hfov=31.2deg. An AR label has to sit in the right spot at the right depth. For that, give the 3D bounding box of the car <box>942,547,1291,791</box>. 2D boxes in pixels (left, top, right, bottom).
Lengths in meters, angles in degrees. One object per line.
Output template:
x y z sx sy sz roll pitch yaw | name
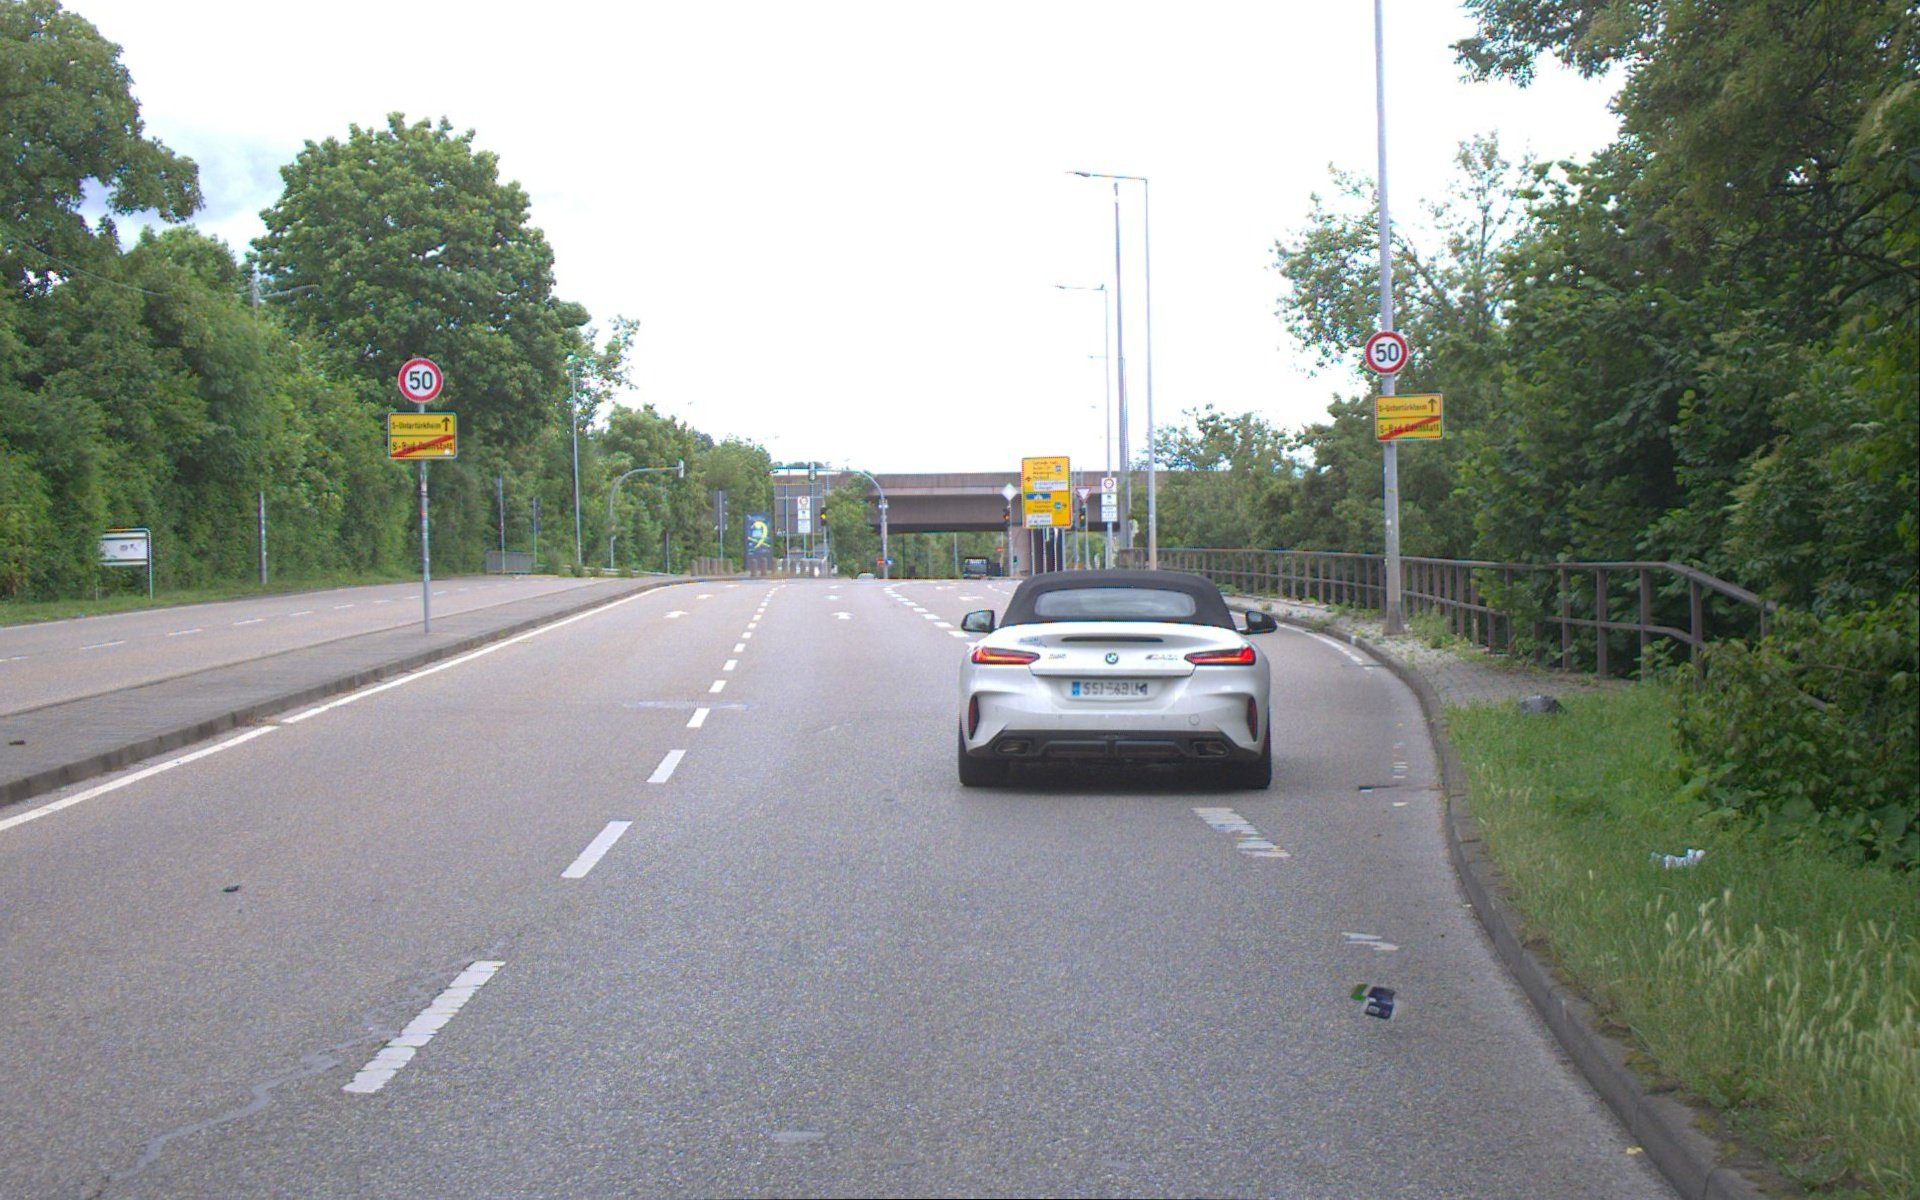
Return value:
0.856 0.357 20.921 1.875 1.305 3.873 1 1 -1 | car
